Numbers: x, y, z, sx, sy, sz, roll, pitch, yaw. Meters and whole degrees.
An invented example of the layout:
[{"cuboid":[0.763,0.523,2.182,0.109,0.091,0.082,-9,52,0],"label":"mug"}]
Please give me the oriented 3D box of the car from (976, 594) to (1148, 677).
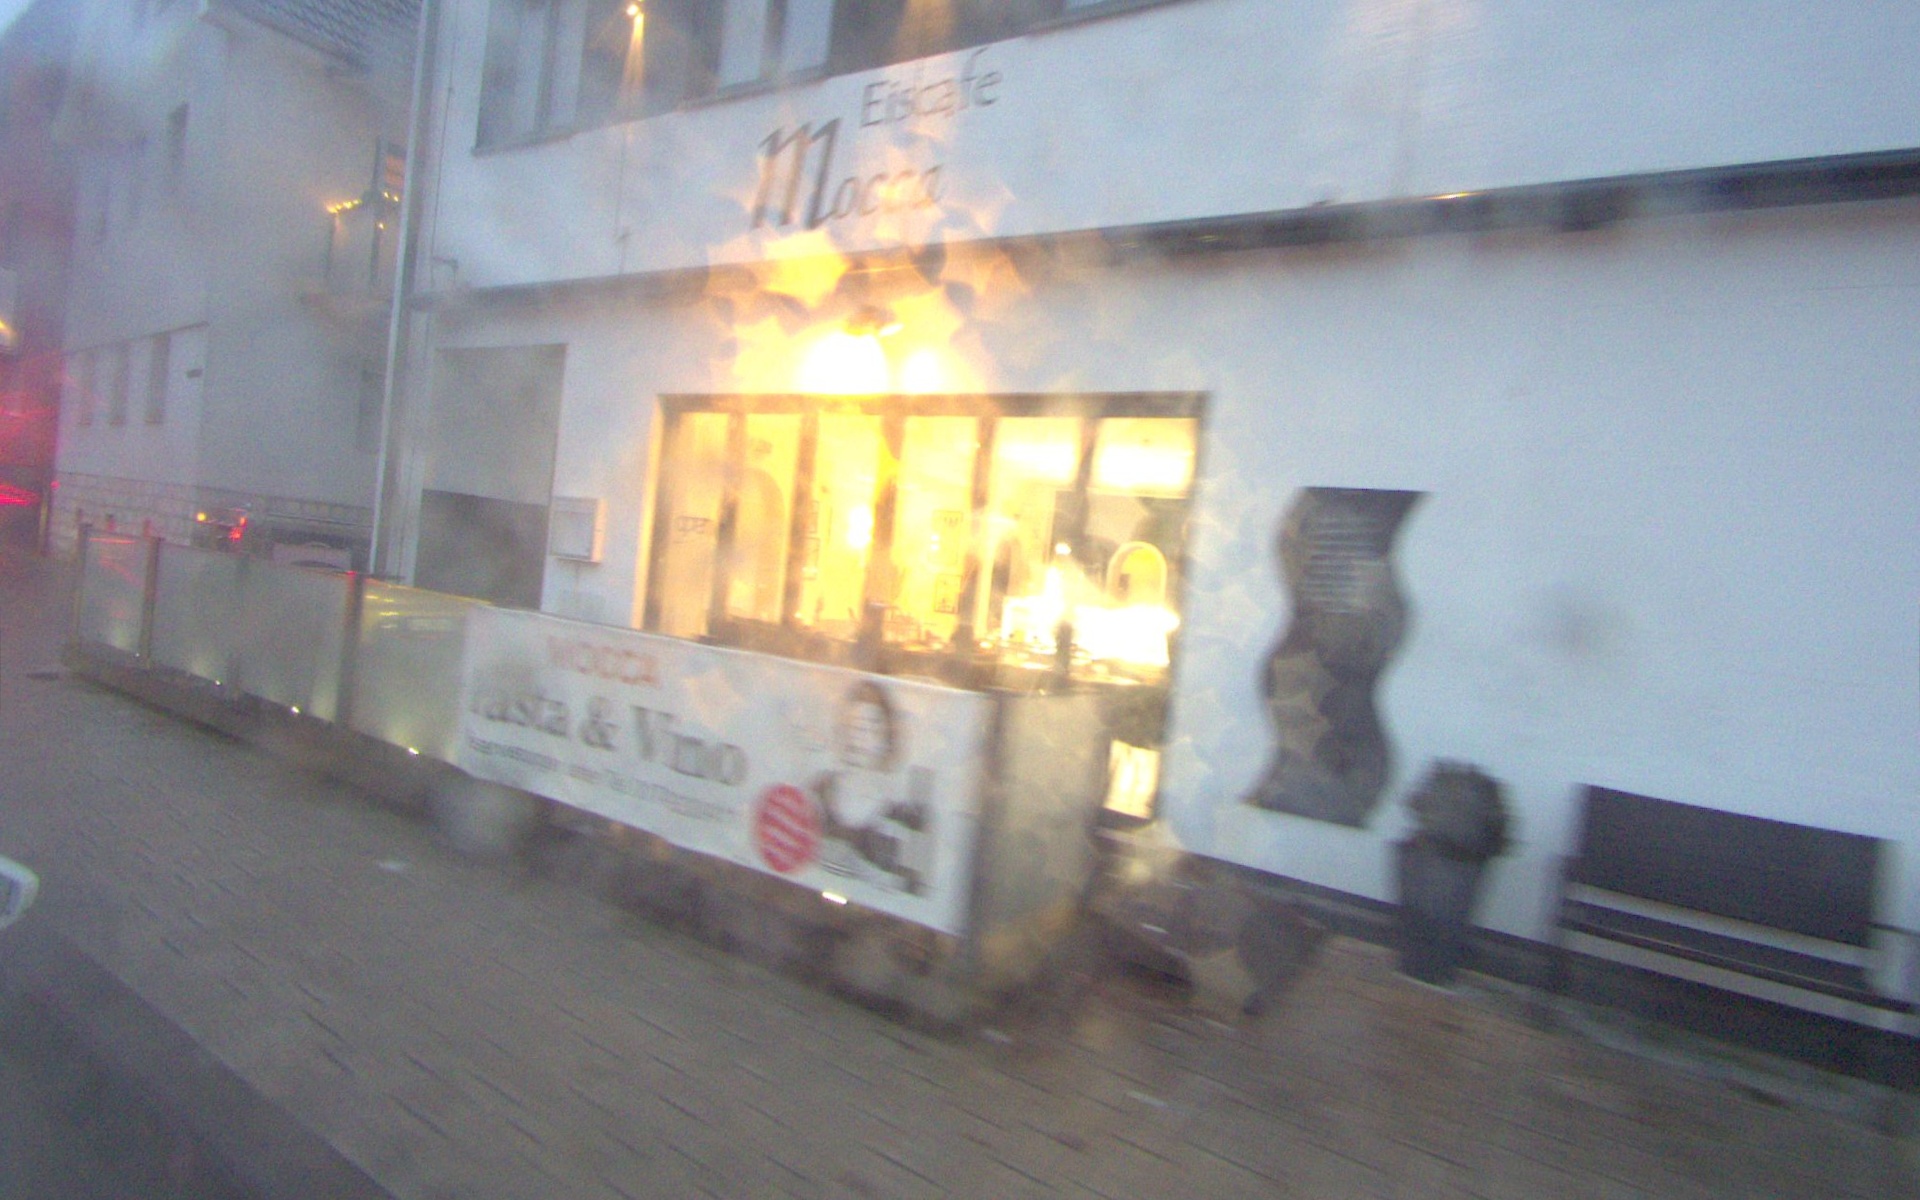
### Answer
[{"cuboid":[2.359,0.814,22.488,1.907,1.434,3.946,10,4,37],"label":"car"}]
